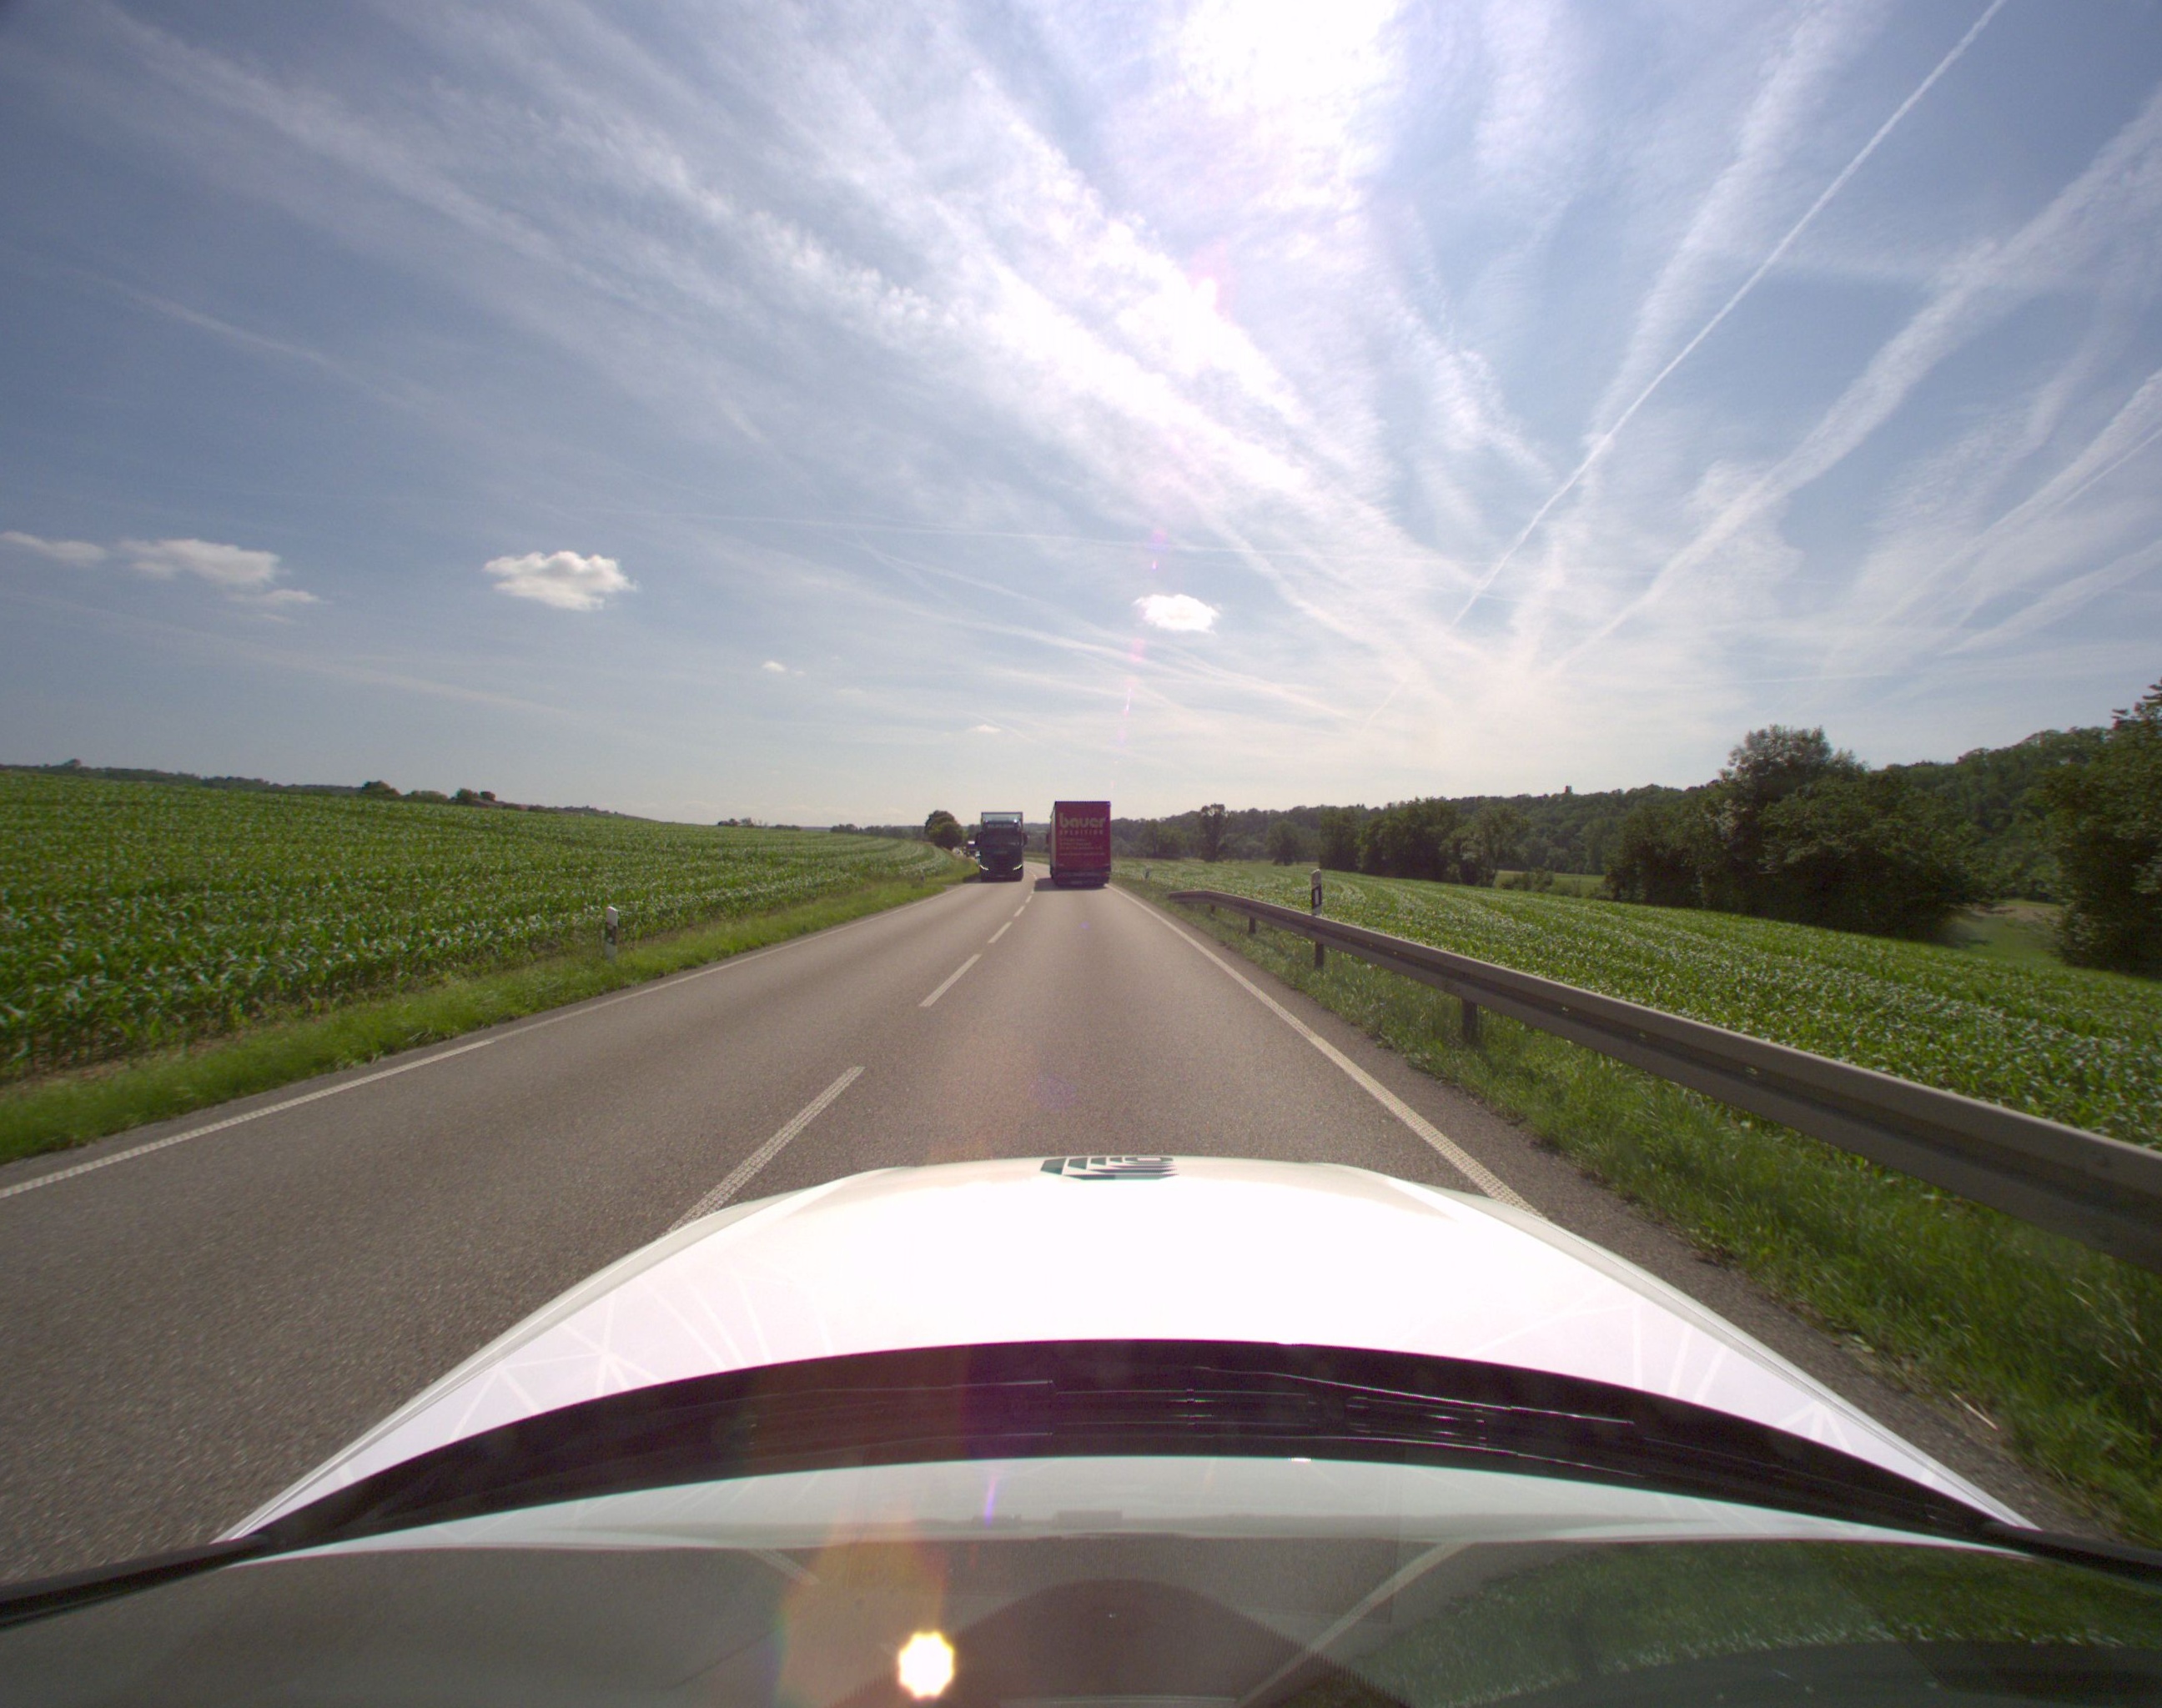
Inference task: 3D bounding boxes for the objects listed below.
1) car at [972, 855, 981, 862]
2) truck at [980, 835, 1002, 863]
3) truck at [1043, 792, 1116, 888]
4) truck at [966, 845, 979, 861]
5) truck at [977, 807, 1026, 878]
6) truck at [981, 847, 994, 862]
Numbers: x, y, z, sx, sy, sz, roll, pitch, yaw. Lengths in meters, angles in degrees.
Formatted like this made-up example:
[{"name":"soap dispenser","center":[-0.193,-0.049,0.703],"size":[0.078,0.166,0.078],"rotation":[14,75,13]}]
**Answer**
[{"name":"car","center":[-21.650,0.979,168.553],"size":[1.727,1.440,4.165],"rotation":[-1,0,-8]},{"name":"truck","center":[-11.961,-0.635,108.943],"size":[2.737,3.578,9.708],"rotation":[-1,0,-5]},{"name":"truck","center":[-0.261,-0.605,40.684],"size":[3.088,4.263,8.303],"rotation":[-1,0,-3]},{"name":"truck","center":[-28.915,-0.344,216.637],"size":[2.826,3.992,16.480],"rotation":[-1,0,-9]},{"name":"truck","center":[-5.145,-0.656,54.757],"size":[2.766,3.998,17.001],"rotation":[-1,0,-4]},{"name":"truck","center":[-15.571,0.056,135.929],"size":[2.009,2.320,5.177],"rotation":[-1,0,-8]}]
